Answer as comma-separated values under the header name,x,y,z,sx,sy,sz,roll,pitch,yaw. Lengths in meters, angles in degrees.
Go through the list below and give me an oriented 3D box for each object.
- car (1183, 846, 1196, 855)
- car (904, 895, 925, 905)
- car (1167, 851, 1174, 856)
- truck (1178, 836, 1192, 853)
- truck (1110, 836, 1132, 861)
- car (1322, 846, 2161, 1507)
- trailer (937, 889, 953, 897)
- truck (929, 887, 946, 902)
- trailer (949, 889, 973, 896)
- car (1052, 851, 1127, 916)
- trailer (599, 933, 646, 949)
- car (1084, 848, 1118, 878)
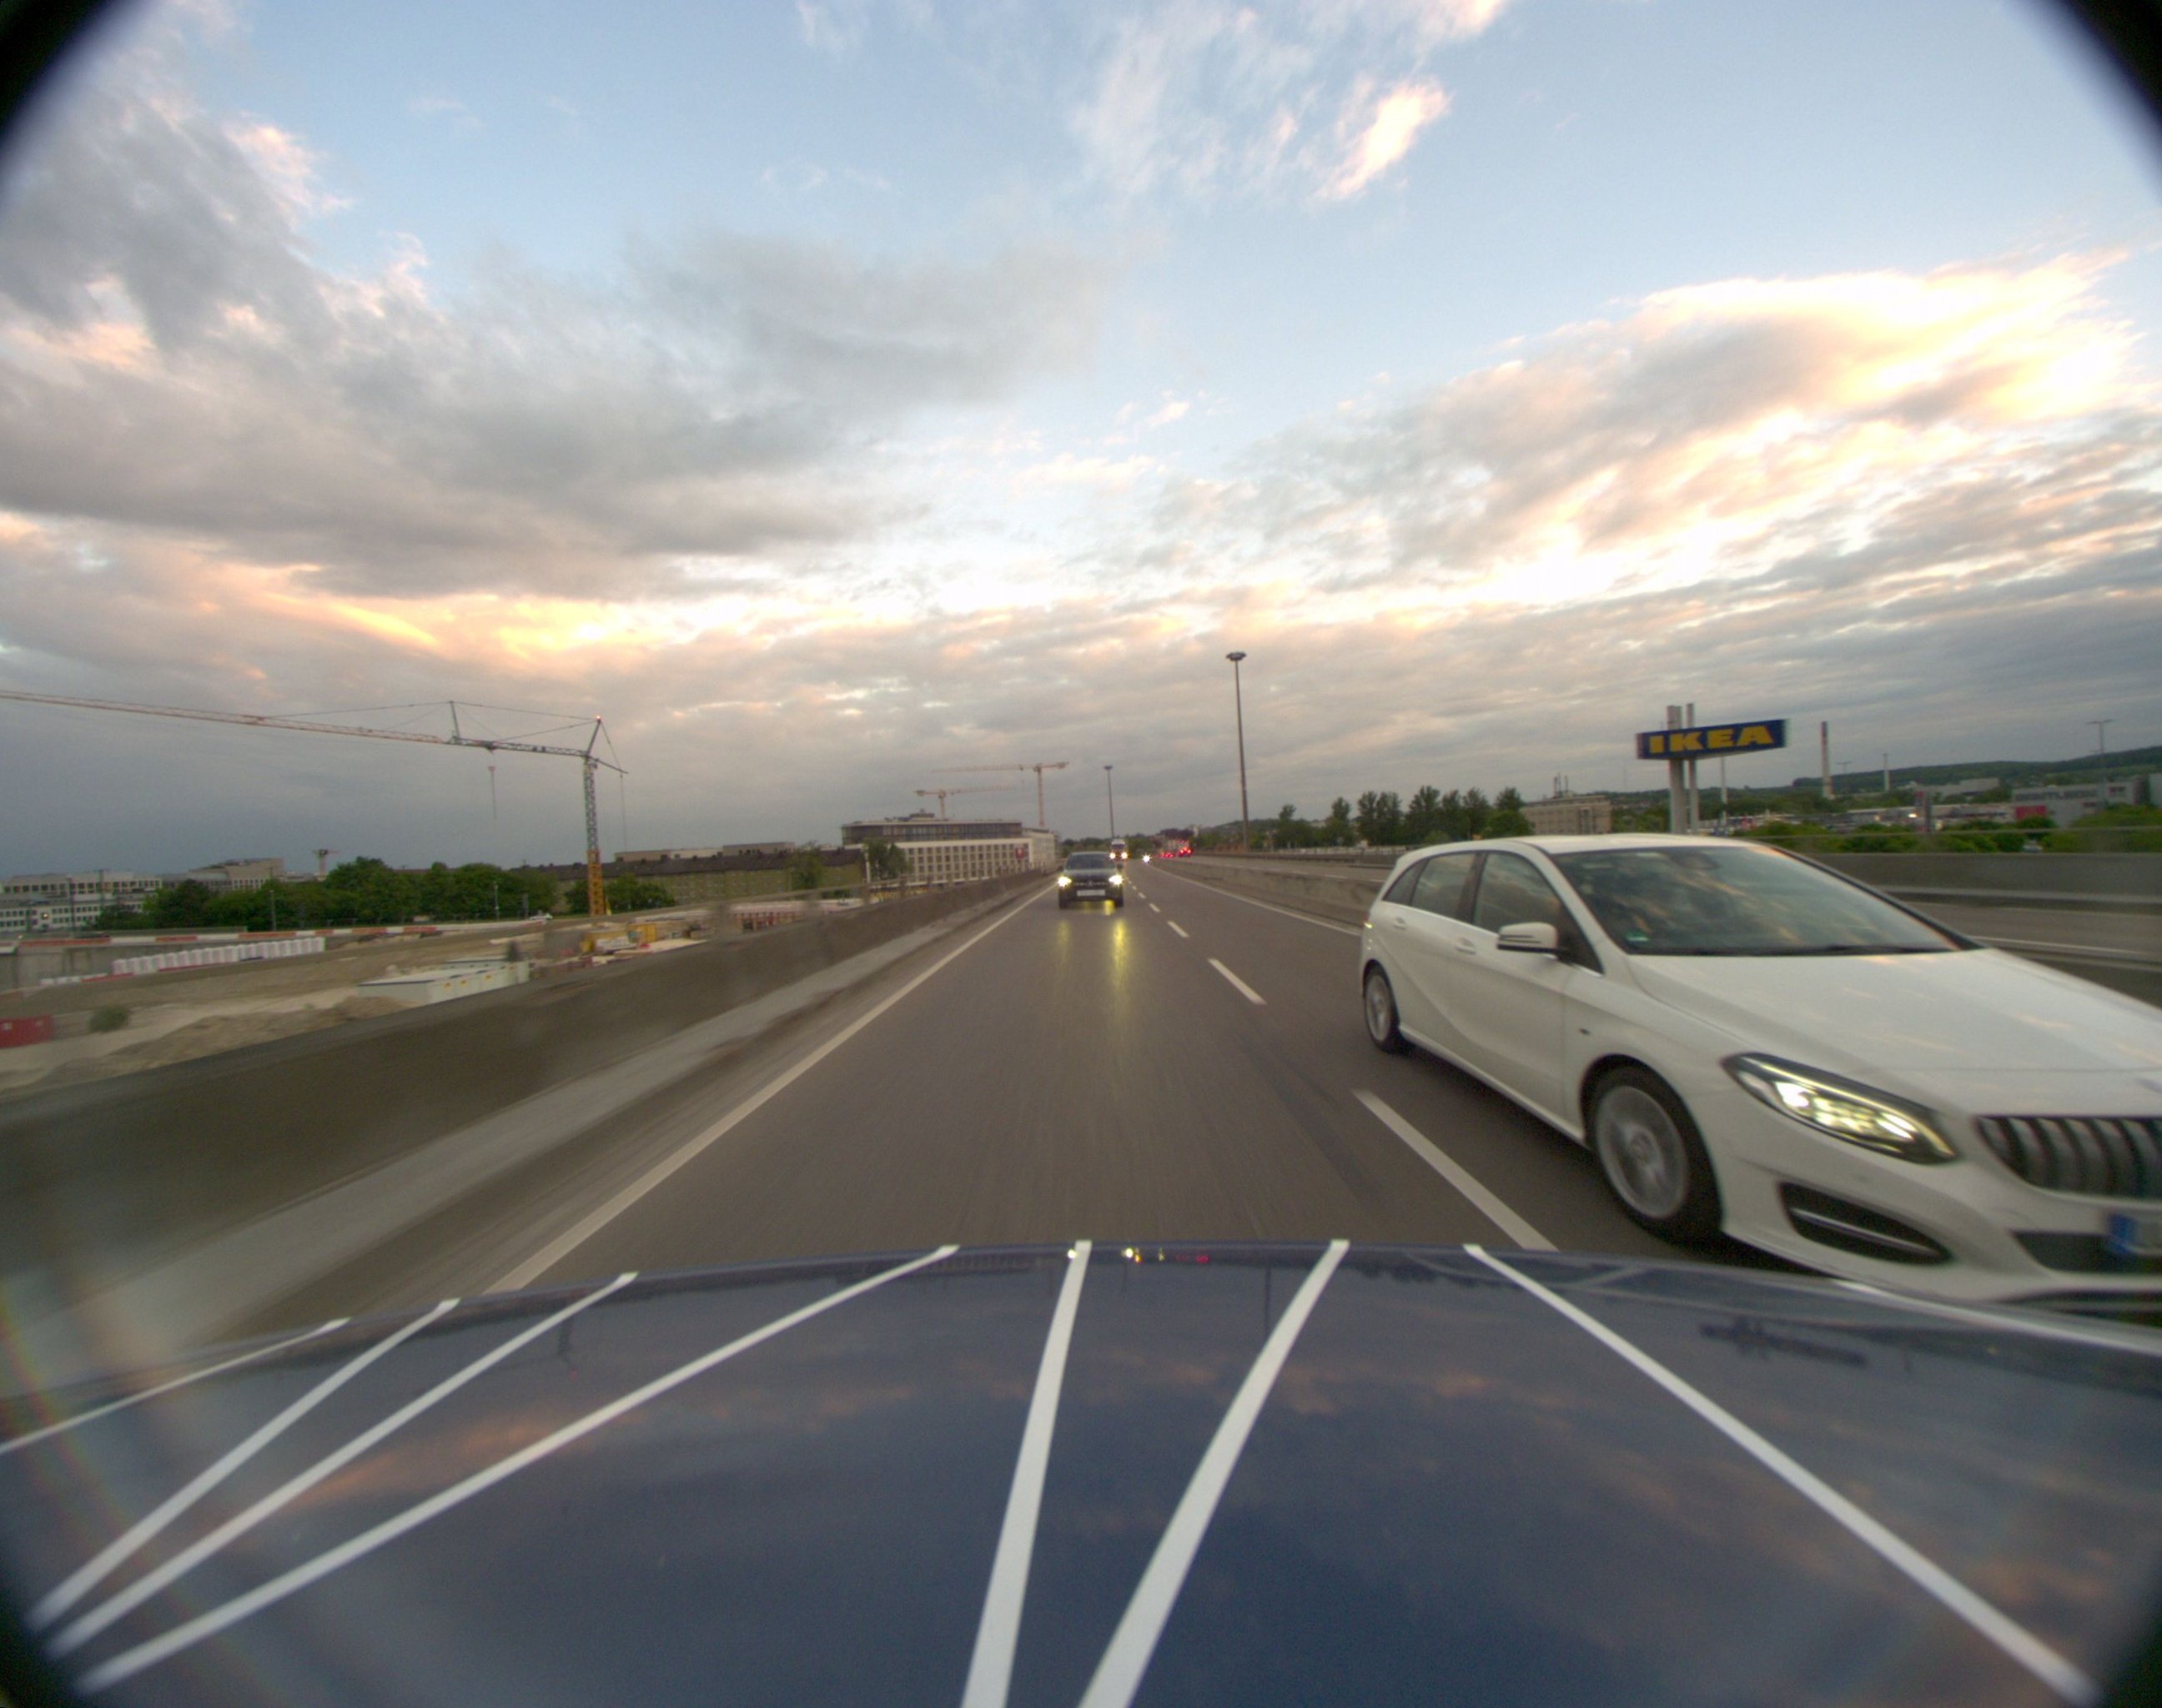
name,x,y,z,sx,sy,sz,roll,pitch,yaw
car,19.378,-0.623,135.812,1.981,1.596,4.443,-2,1,6
car,-34.395,9.432,157.323,3.787,1.729,1.647,-4,1,19
car,25.713,-0.182,218.890,1.632,1.432,3.837,-2,-1,4
truck,21.957,-2.037,160.795,2.540,3.278,7.449,-2,1,6
truck,7.457,-1.081,139.589,3.164,4.369,8.797,-2,0,7
car,2.922,0.790,4.193,1.695,1.528,4.784,-2,-1,1
trailer,-32.819,9.373,183.651,1.998,1.339,5.876,-8,-1,5
truck,-33.281,9.335,176.245,2.163,2.930,7.338,-5,-1,0
trailer,-29.906,9.605,189.081,5.875,1.340,2.024,-3,1,-14
car,0.344,0.754,21.306,1.823,1.602,4.214,-2,0,4
trailer,-53.364,10.127,88.506,1.780,1.233,4.259,-5,0,30
car,1.251,0.583,46.119,1.891,1.641,4.345,-3,-1,3
